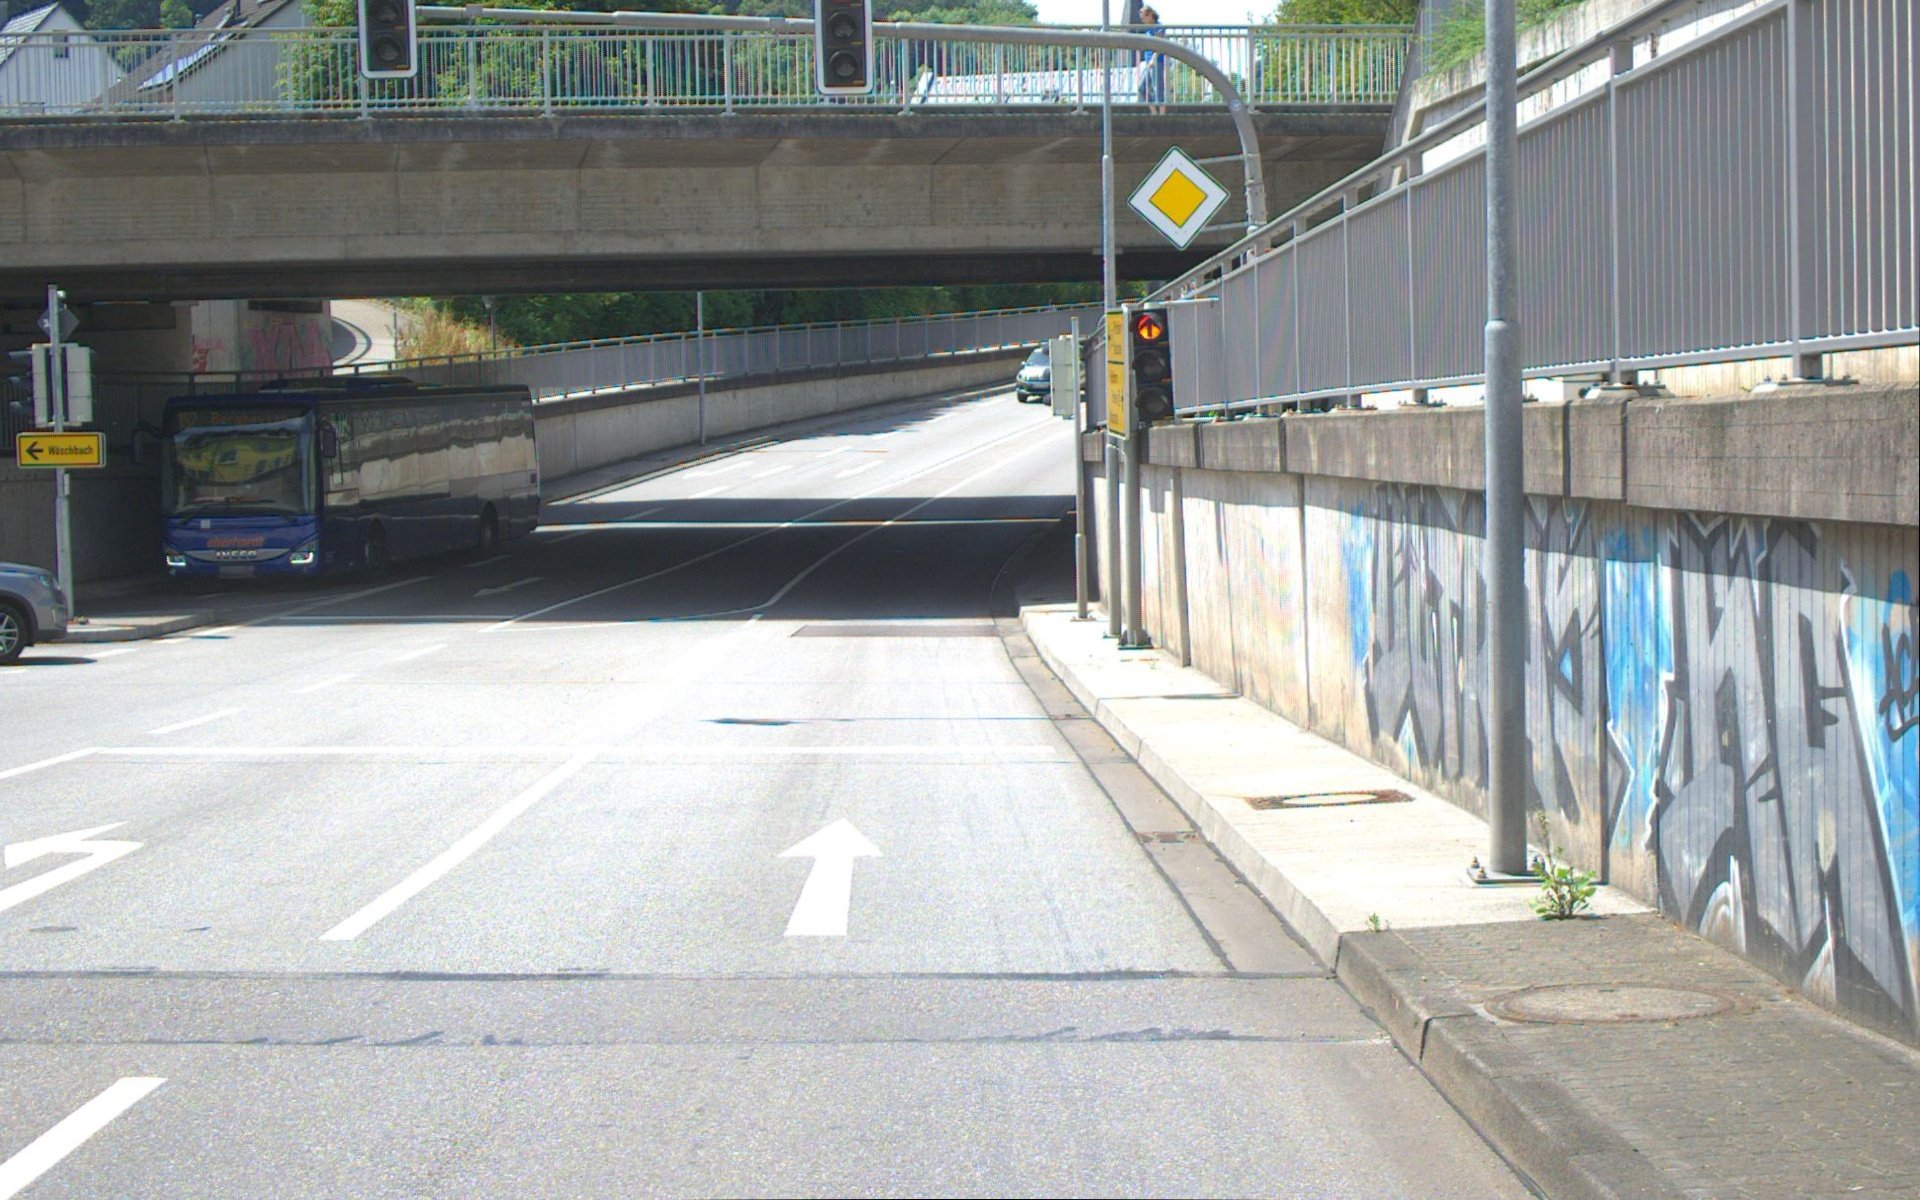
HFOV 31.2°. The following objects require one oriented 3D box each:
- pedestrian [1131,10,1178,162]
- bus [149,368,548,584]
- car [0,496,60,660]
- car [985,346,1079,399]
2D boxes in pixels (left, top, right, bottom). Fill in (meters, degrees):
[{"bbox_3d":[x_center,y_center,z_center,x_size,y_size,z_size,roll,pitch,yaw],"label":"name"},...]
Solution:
[{"bbox_3d":[2.762,-7.293,48.816,0.539,2.074,0.535,-2,2,-7],"label":"pedestrian"},{"bbox_3d":[-9.703,-2.205,56.485,2.582,3.161,12.375,0,4,9],"label":"bus"},{"bbox_3d":[-11.382,-0.207,35.058,3.986,1.612,1.811,-2,4,-24],"label":"car"},{"bbox_3d":[2.264,-7.092,107.318,1.995,1.621,3.998,1,4,16],"label":"car"}]
